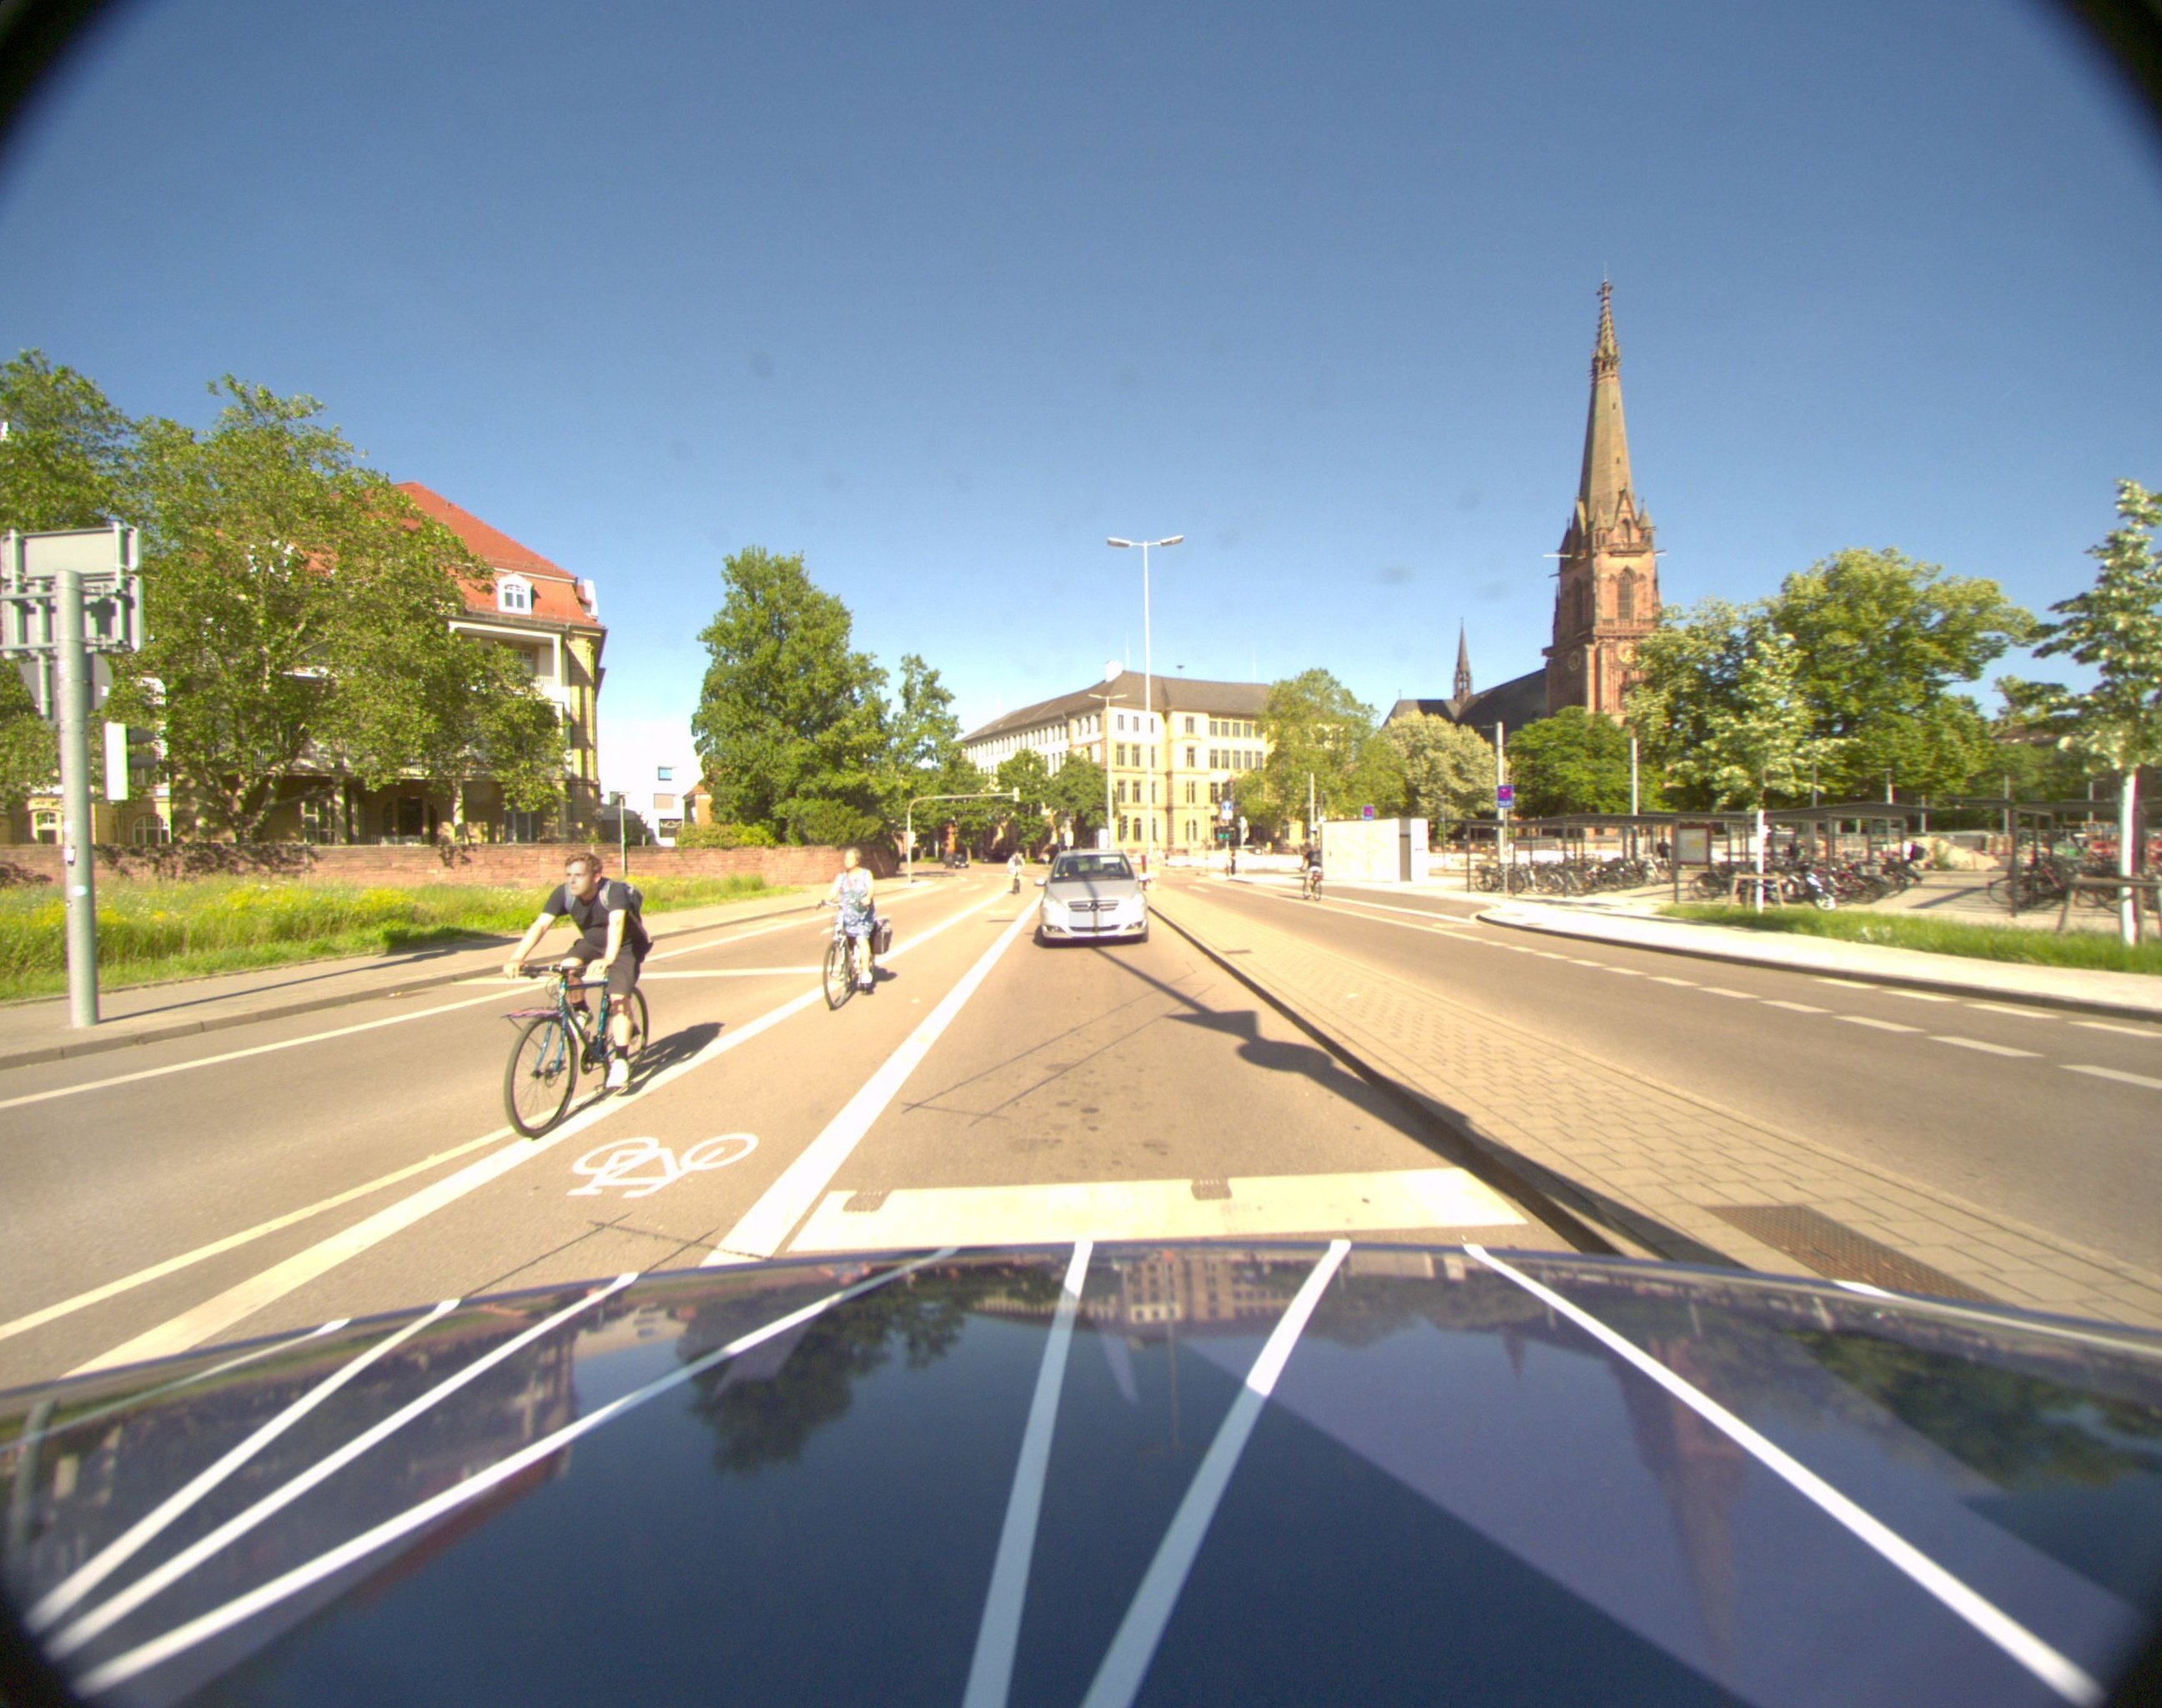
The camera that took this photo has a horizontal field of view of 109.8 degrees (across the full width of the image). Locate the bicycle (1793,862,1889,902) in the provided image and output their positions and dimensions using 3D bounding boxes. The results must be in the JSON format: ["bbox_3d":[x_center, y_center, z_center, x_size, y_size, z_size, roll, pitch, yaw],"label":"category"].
[{"bbox_3d":[20.892,0.746,20.921,0.569,1.032,1.783,-1,1,-38],"label":"bicycle"}]

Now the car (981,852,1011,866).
[{"bbox_3d":[-11.885,0.681,106.128,1.994,1.805,3.809,0,1,43],"label":"car"}]

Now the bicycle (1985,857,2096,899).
[{"bbox_3d":[25.198,0.615,19.990,0.569,1.032,1.783,-1,1,-38],"label":"bicycle"}]

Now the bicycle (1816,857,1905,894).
[{"bbox_3d":[23.206,0.618,22.657,0.569,1.032,1.783,-1,1,-38],"label":"bicycle"}]

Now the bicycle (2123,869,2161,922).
[{"bbox_3d":[21.843,0.837,14.806,0.569,1.032,1.783,-1,1,-38],"label":"bicycle"}]

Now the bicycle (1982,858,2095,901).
[{"bbox_3d":[24.612,0.638,19.569,0.569,1.032,1.783,-1,1,-38],"label":"bicycle"}]

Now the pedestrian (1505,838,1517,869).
[{"bbox_3d":[24.517,-0.002,43.349,0.537,1.712,0.683,-2,-4,30],"label":"pedestrian"}]

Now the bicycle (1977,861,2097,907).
[{"bbox_3d":[23.379,0.719,18.624,0.569,1.032,1.783,-1,1,-38],"label":"bicycle"}]

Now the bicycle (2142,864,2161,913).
[{"bbox_3d":[23.728,0.757,15.849,0.569,1.032,1.783,0,1,-30],"label":"bicycle"}]

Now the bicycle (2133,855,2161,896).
[{"bbox_3d":[27.741,0.560,18.905,0.569,1.032,1.783,-1,1,-38],"label":"bicycle"}]

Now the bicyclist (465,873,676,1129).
[{"bbox_3d":[-3.200,0.861,4.866,0.643,1.436,0.953,-2,1,0],"label":"bicyclist"}]

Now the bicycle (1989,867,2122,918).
[{"bbox_3d":[21.754,0.822,17.006,0.569,1.032,1.783,-1,1,-38],"label":"bicycle"}]

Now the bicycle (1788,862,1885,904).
[{"bbox_3d":[20.387,0.765,20.530,0.569,1.032,1.783,-1,1,-38],"label":"bicycle"}]

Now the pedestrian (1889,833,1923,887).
[{"bbox_3d":[26.515,0.184,24.426,0.619,1.713,0.680,-2,2,-39],"label":"pedestrian"}]

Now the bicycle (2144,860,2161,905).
[{"bbox_3d":[25.978,0.678,17.447,0.569,1.032,1.783,-1,1,-38],"label":"bicycle"}]

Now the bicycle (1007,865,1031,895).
[{"bbox_3d":[-2.536,1.049,31.214,0.778,1.158,1.967,-2,1,0],"label":"bicycle"}]

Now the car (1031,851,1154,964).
[{"bbox_3d":[0.195,0.789,13.576,1.771,1.584,4.638,-2,1,0],"label":"car"}]

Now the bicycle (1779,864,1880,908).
[{"bbox_3d":[19.341,0.802,19.678,0.569,1.032,1.783,-1,1,-38],"label":"bicycle"}]

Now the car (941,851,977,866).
[{"bbox_3d":[-13.202,0.457,82.136,2.003,1.464,4.287,-4,1,-36],"label":"car"}]

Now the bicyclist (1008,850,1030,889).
[{"bbox_3d":[-2.546,0.607,31.160,0.778,1.543,0.919,-2,1,0],"label":"bicyclist"}]

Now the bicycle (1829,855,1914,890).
[{"bbox_3d":[24.709,0.564,23.787,0.569,1.032,1.783,-1,1,-38],"label":"bicycle"}]

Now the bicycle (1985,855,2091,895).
[{"bbox_3d":[26.280,0.550,20.904,0.569,1.032,1.783,-1,1,-38],"label":"bicycle"}]

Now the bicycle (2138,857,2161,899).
[{"bbox_3d":[27.071,0.605,18.343,0.569,1.032,1.783,-1,1,-38],"label":"bicycle"}]

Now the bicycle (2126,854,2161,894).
[{"bbox_3d":[28.247,0.524,19.413,0.569,1.032,1.783,-1,1,-38],"label":"bicycle"}]

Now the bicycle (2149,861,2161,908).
[{"bbox_3d":[24.970,0.698,16.644,0.569,1.032,1.783,-1,1,-38],"label":"bicycle"}]

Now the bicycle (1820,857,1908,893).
[{"bbox_3d":[23.695,0.611,23.013,0.569,1.032,1.783,-1,1,-38],"label":"bicycle"}]

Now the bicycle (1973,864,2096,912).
[{"bbox_3d":[22.573,0.773,18.031,0.569,1.032,1.783,-1,1,-38],"label":"bicycle"}]

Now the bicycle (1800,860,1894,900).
[{"bbox_3d":[21.454,0.708,21.325,0.569,1.032,1.783,-1,1,-38],"label":"bicycle"}]

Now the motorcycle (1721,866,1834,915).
[{"bbox_3d":[17.136,0.871,18.749,0.596,1.113,1.980,-2,1,-34],"label":"motorcycle"}]

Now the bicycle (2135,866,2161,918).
[{"bbox_3d":[22.704,0.792,15.244,0.569,1.032,1.783,-1,1,-38],"label":"bicycle"}]

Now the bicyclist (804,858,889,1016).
[{"bbox_3d":[-2.580,0.885,8.442,0.643,1.653,0.776,-2,2,0],"label":"bicyclist"}]

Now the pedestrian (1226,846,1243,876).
[{"bbox_3d":[9.031,0.401,44.789,0.789,1.671,0.648,-3,1,1],"label":"pedestrian"}]

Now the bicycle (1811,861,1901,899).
[{"bbox_3d":[22.601,0.731,22.188,0.569,1.032,1.783,-1,1,-38],"label":"bicycle"}]

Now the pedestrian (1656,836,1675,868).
[{"bbox_3d":[30.541,-0.125,39.694,0.567,1.645,0.518,-3,1,0],"label":"pedestrian"}]

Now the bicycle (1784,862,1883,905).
[{"bbox_3d":[19.815,0.753,20.052,0.569,1.032,1.783,-1,1,-38],"label":"bicycle"}]

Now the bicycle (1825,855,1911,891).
[{"bbox_3d":[24.205,0.558,23.393,0.569,1.032,1.783,-1,1,-38],"label":"bicycle"}]

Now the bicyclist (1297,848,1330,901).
[{"bbox_3d":[7.179,0.622,23.507,0.721,1.612,0.977,0,1,0],"label":"bicyclist"}]
